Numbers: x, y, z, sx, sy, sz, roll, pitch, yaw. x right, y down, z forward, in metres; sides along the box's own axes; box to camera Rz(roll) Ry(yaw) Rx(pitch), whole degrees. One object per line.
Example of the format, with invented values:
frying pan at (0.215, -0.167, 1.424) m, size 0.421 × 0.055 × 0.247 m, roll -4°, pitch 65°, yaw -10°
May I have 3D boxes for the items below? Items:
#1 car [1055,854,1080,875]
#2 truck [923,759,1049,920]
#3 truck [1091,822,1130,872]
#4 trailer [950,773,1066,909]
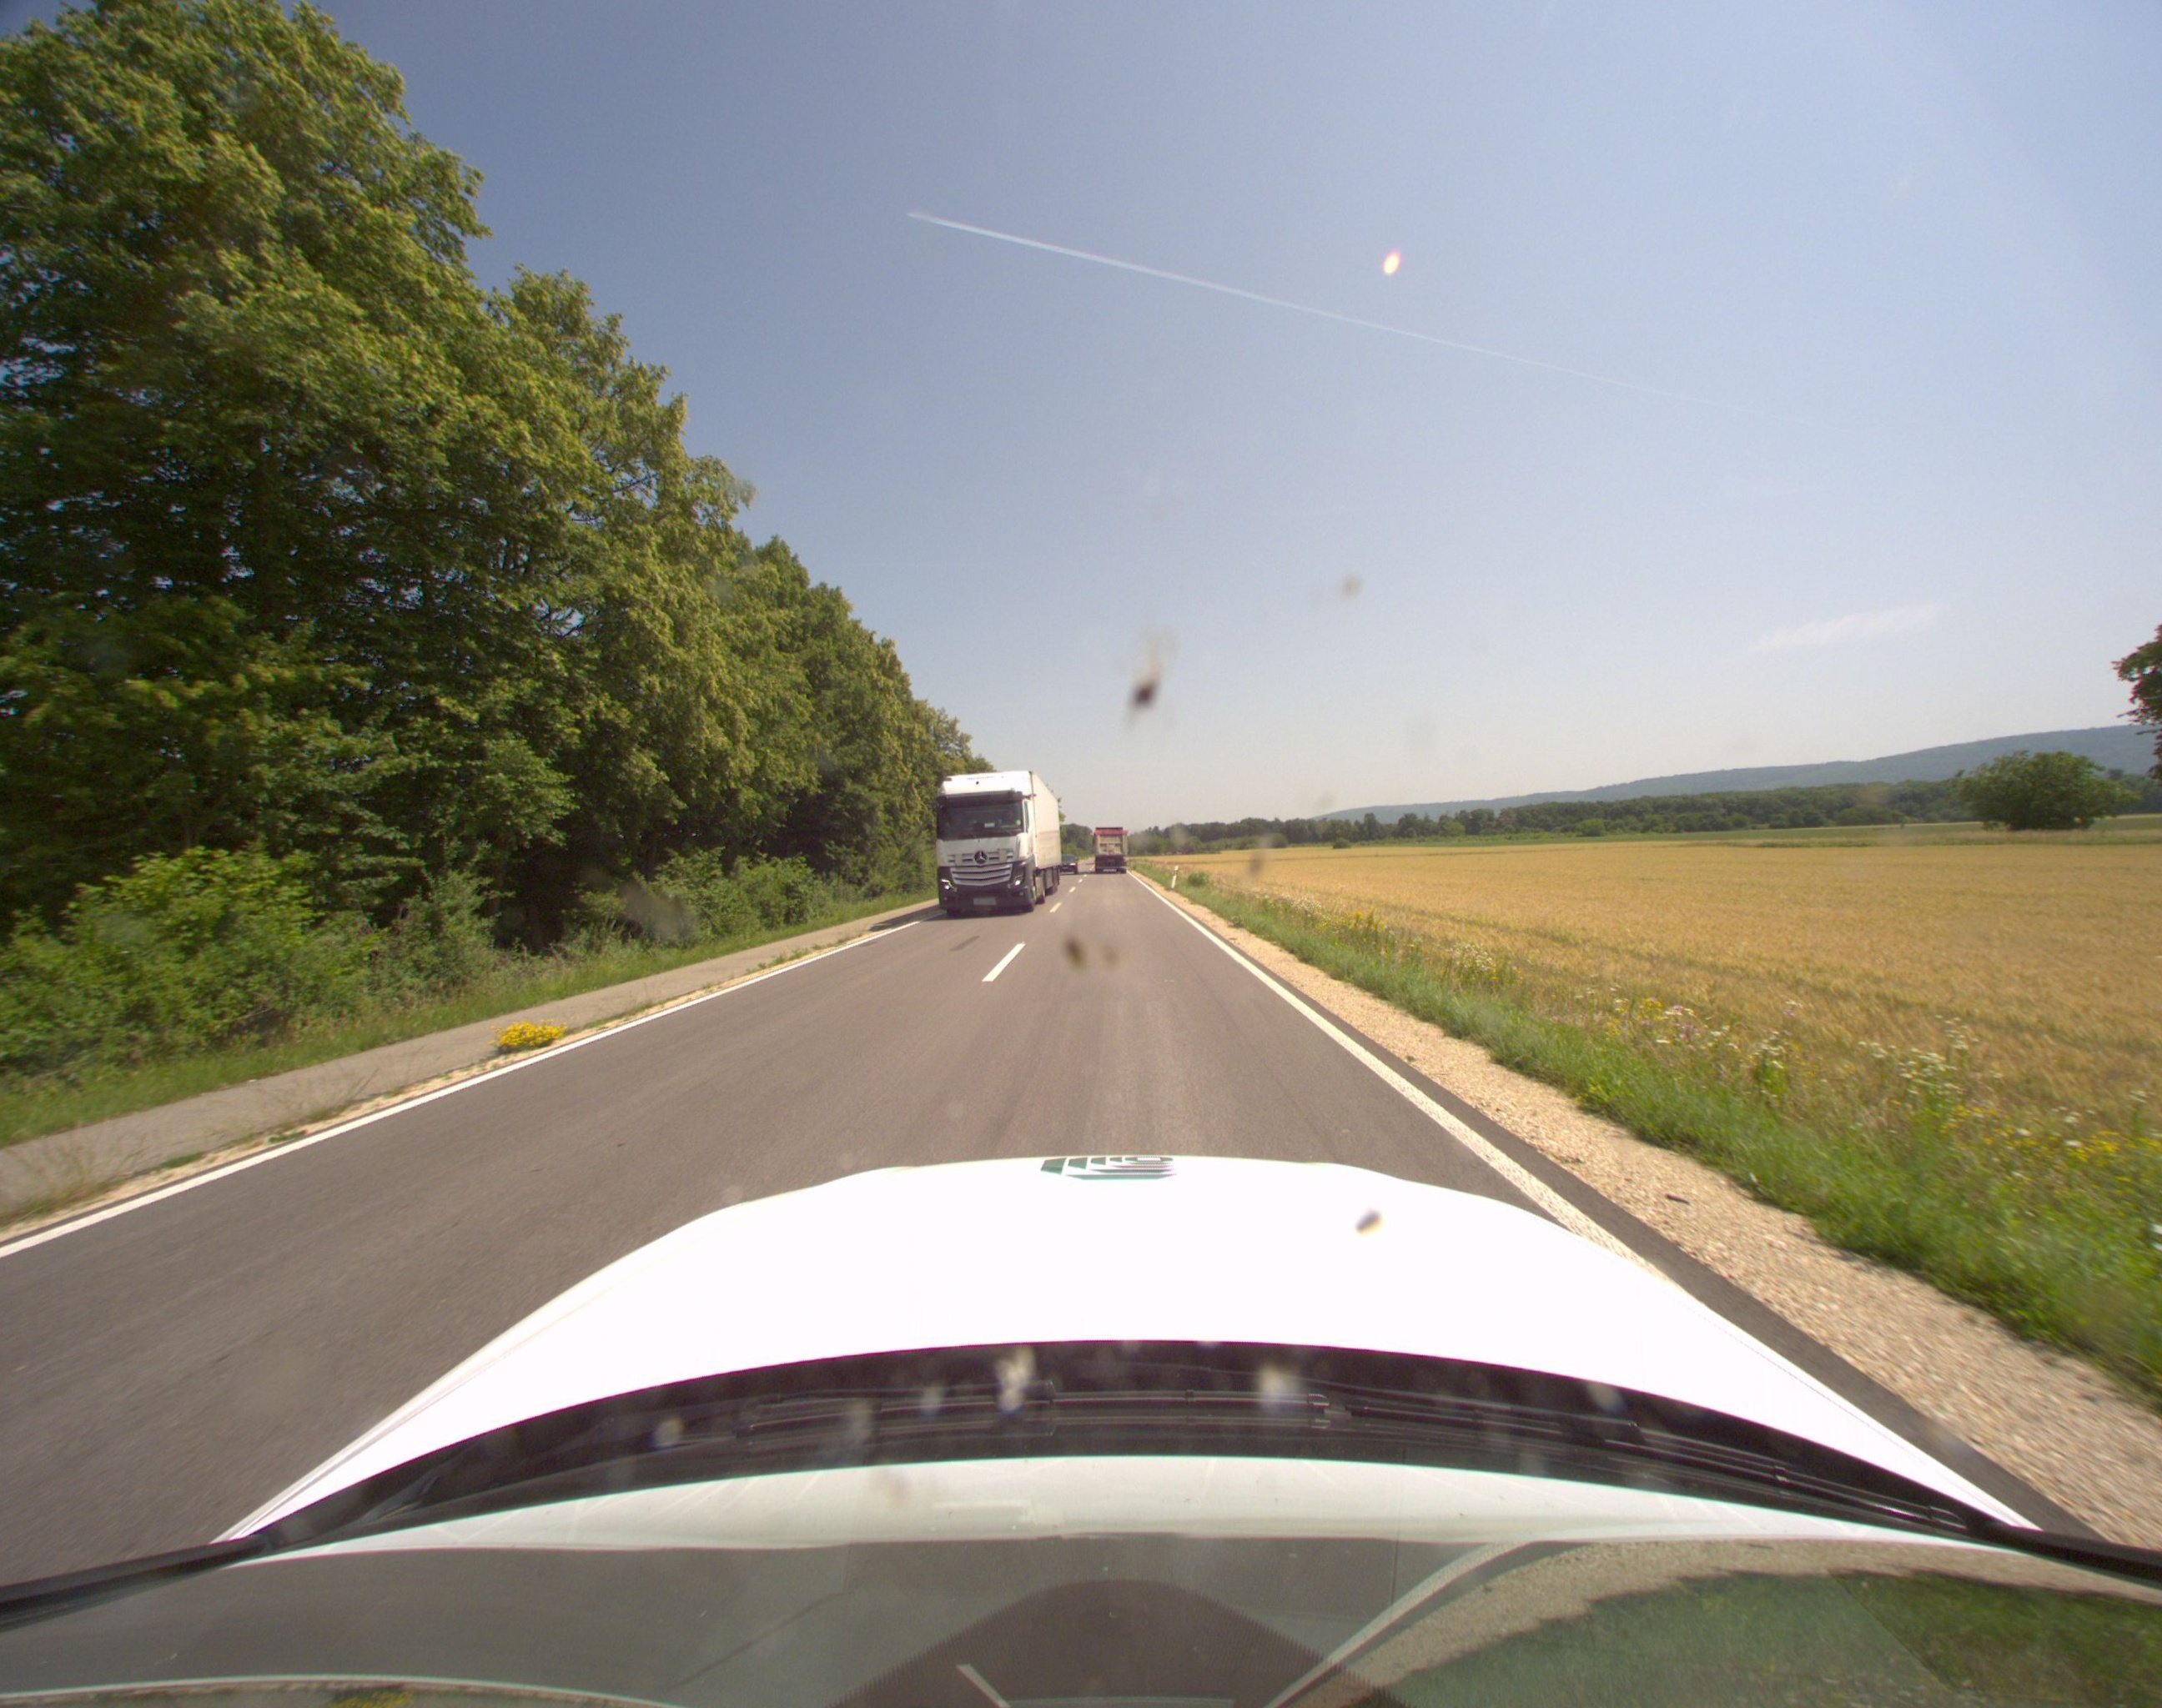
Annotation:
car at (-1.081, 0.802, 66.106) m, size 1.785 × 1.574 × 4.480 m, roll -3°, pitch 0°, yaw 1°
truck at (-2.556, -0.375, 23.801) m, size 2.646 × 3.977 × 5.729 m, roll -3°, pitch 0°, yaw 2°
truck at (2.484, -0.479, 68.648) m, size 2.998 × 3.874 × 12.213 m, roll 0°, pitch -1°, yaw 2°
trailer at (-2.328, -0.402, 31.244) m, size 2.643 × 3.977 × 13.359 m, roll -3°, pitch 0°, yaw 2°
